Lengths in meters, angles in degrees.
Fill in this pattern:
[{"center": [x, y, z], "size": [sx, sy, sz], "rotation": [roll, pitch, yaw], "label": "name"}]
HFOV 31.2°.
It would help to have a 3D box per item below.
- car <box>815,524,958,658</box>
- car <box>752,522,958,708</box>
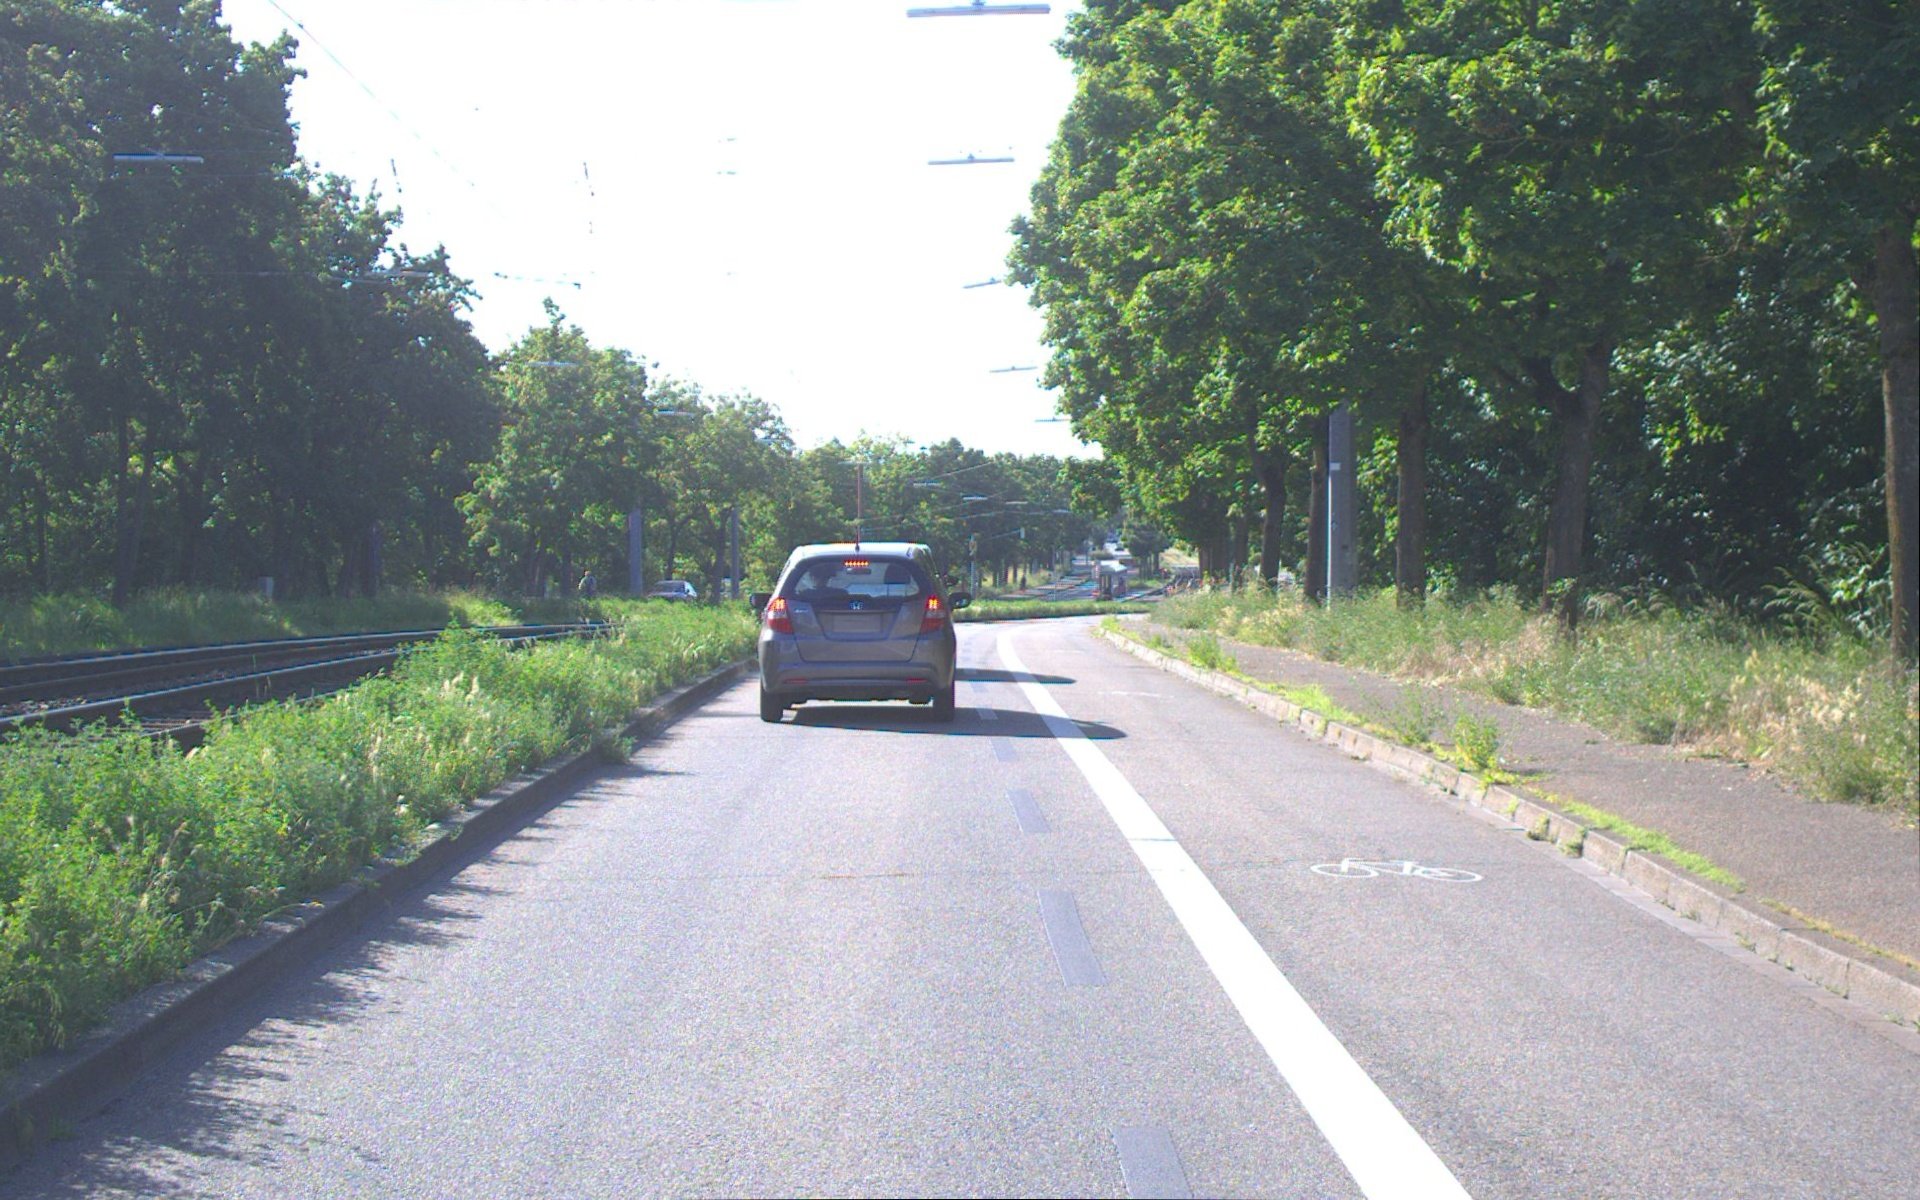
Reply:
[{"center": [-0.872, -0.152, 42.542], "size": [1.654, 1.502, 3.811], "rotation": [1, 2, 0], "label": "car"}, {"center": [-0.874, 0.087, 30.450], "size": [1.670, 1.502, 3.811], "rotation": [1, 1, 0], "label": "car"}]
